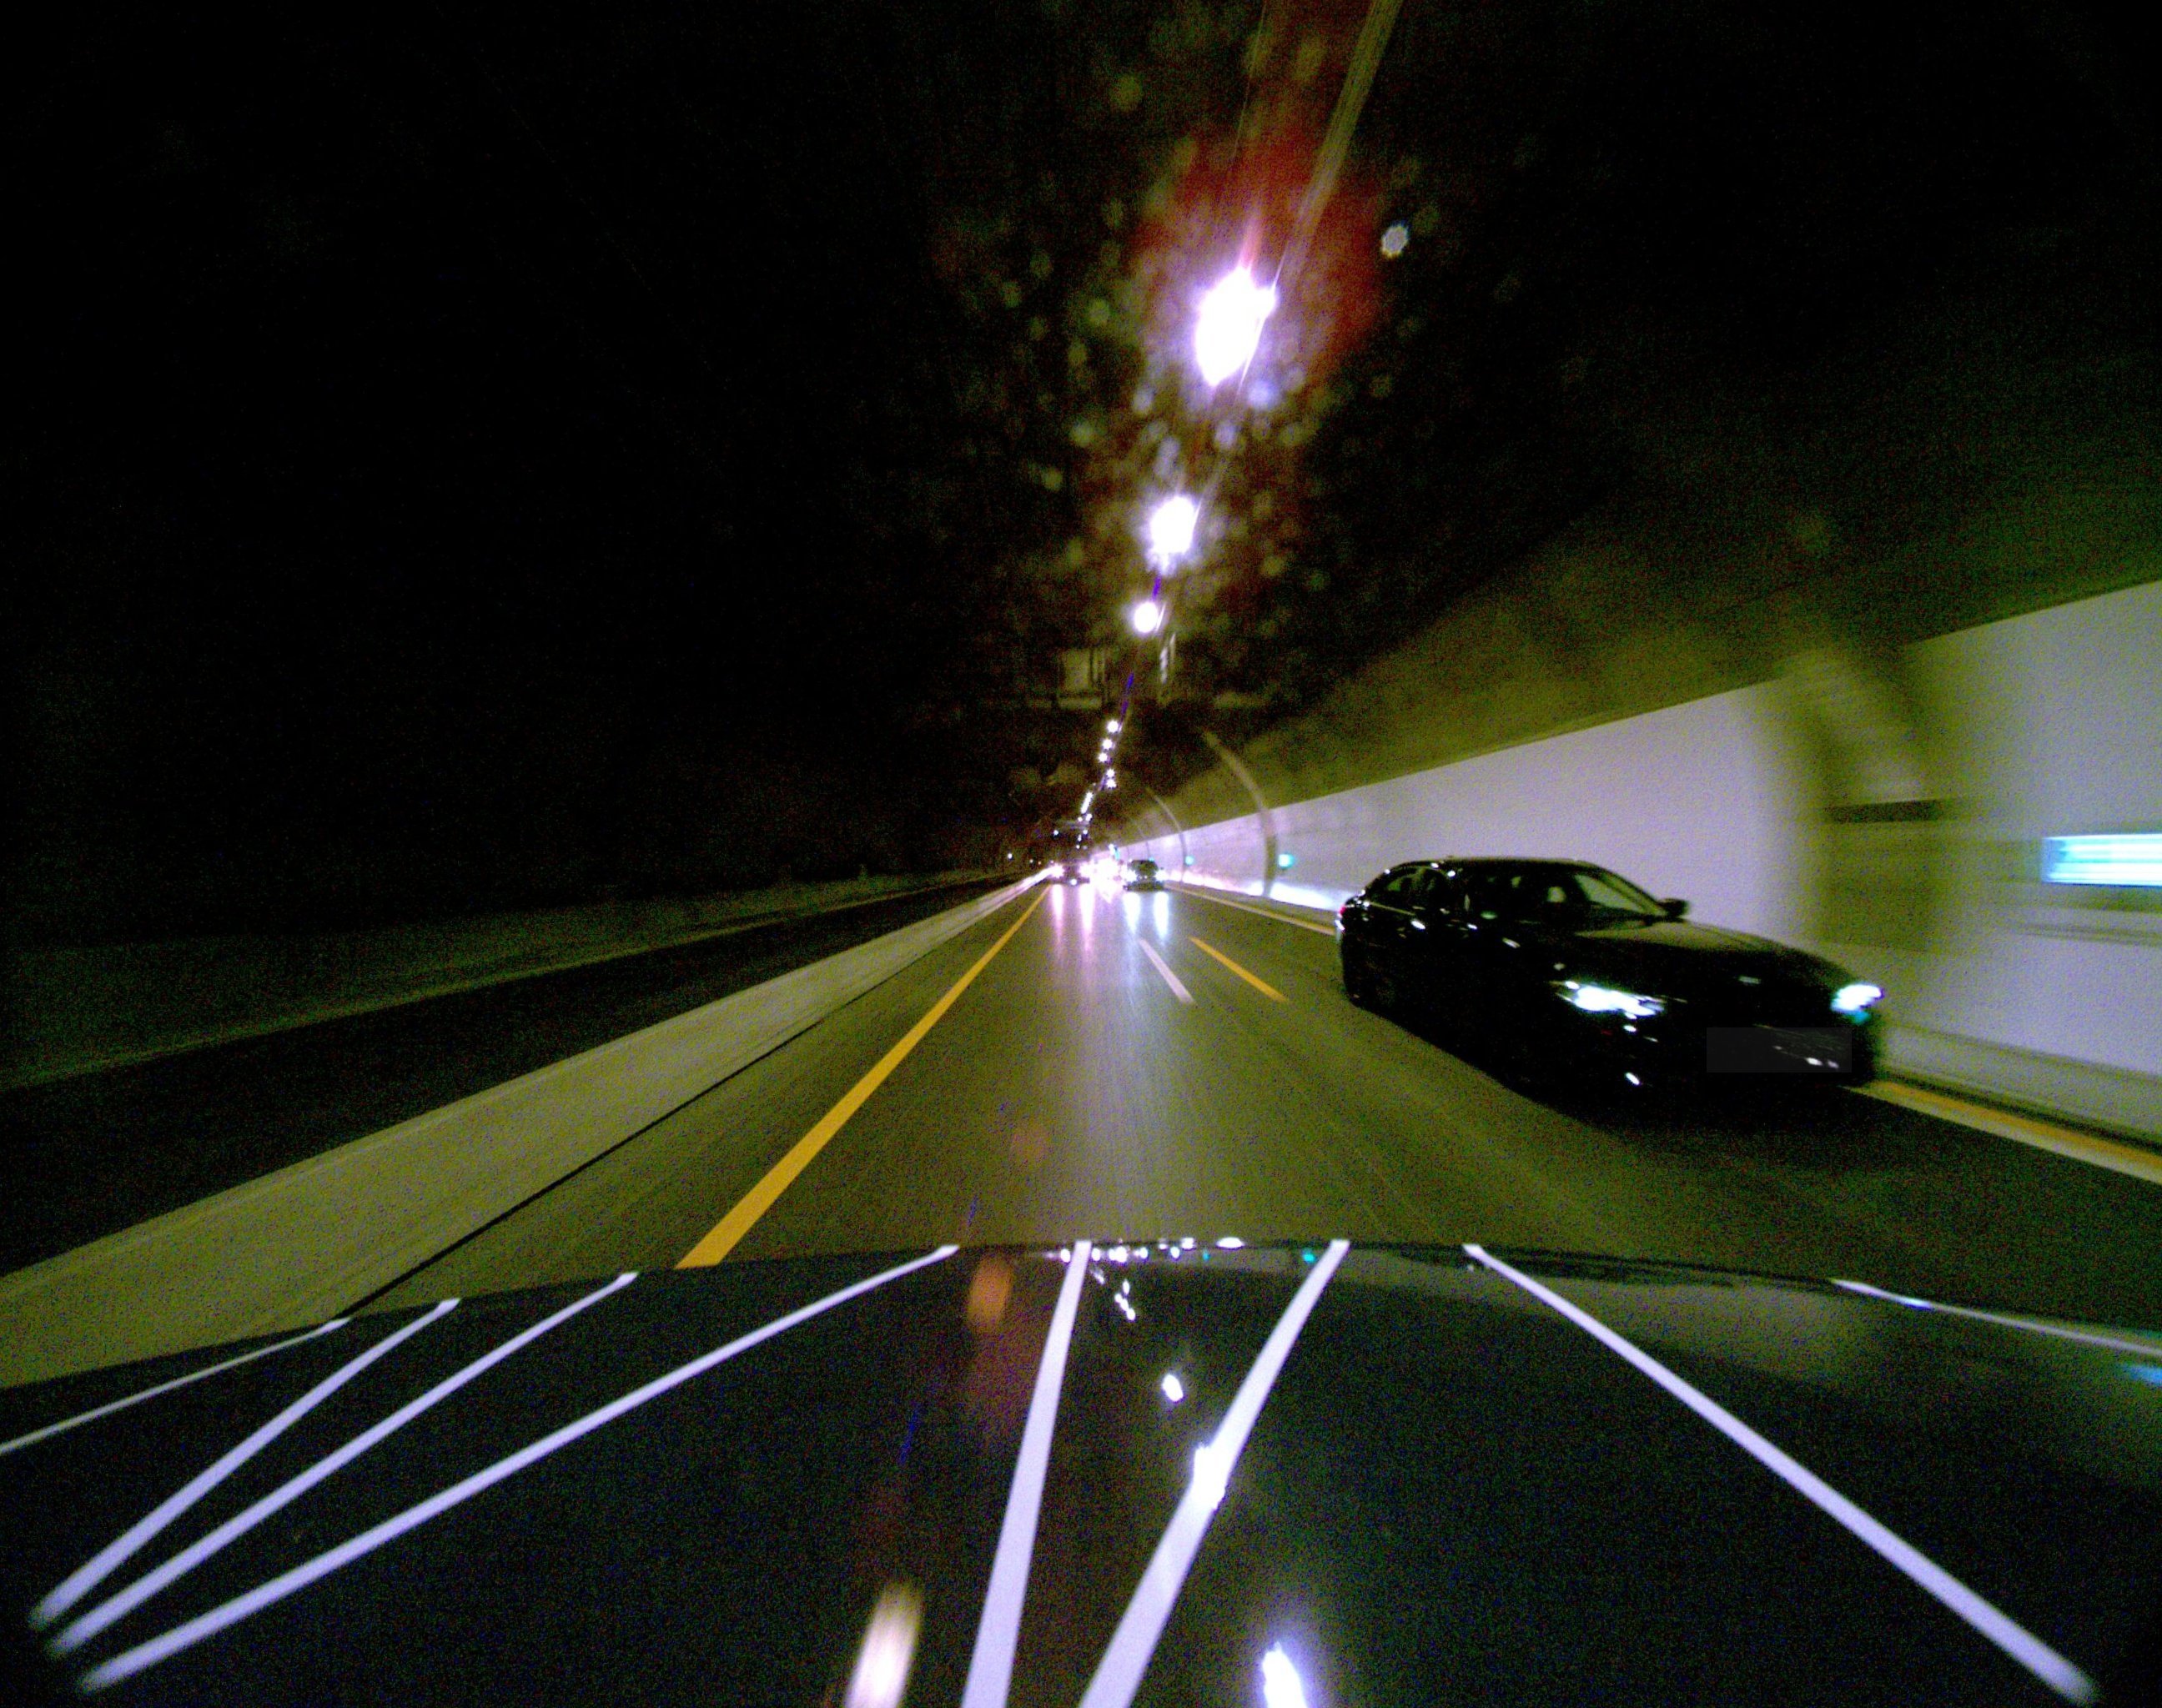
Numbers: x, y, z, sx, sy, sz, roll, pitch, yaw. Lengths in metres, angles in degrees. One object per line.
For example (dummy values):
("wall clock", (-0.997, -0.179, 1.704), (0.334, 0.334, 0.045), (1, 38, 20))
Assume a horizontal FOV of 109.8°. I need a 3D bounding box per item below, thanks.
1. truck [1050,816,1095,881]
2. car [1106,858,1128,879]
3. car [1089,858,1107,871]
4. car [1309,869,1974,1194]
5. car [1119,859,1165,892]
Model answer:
("truck", (-0.532, -0.351, 52.573), (2.742, 4.127, 8.100), (-2, 0, 0))
("car", (2.728, 1.111, 57.875), (1.531, 1.508, 2.651), (-2, 0, 0))
("car", (2.009, 1.247, 92.412), (1.909, 1.412, 4.060), (-2, 0, -2))
("car", (3.451, 0.914, 6.129), (1.782, 1.430, 4.883), (-2, 0, 1))
("car", (2.932, 1.014, 37.514), (1.782, 1.430, 4.882), (-2, 0, -1))
